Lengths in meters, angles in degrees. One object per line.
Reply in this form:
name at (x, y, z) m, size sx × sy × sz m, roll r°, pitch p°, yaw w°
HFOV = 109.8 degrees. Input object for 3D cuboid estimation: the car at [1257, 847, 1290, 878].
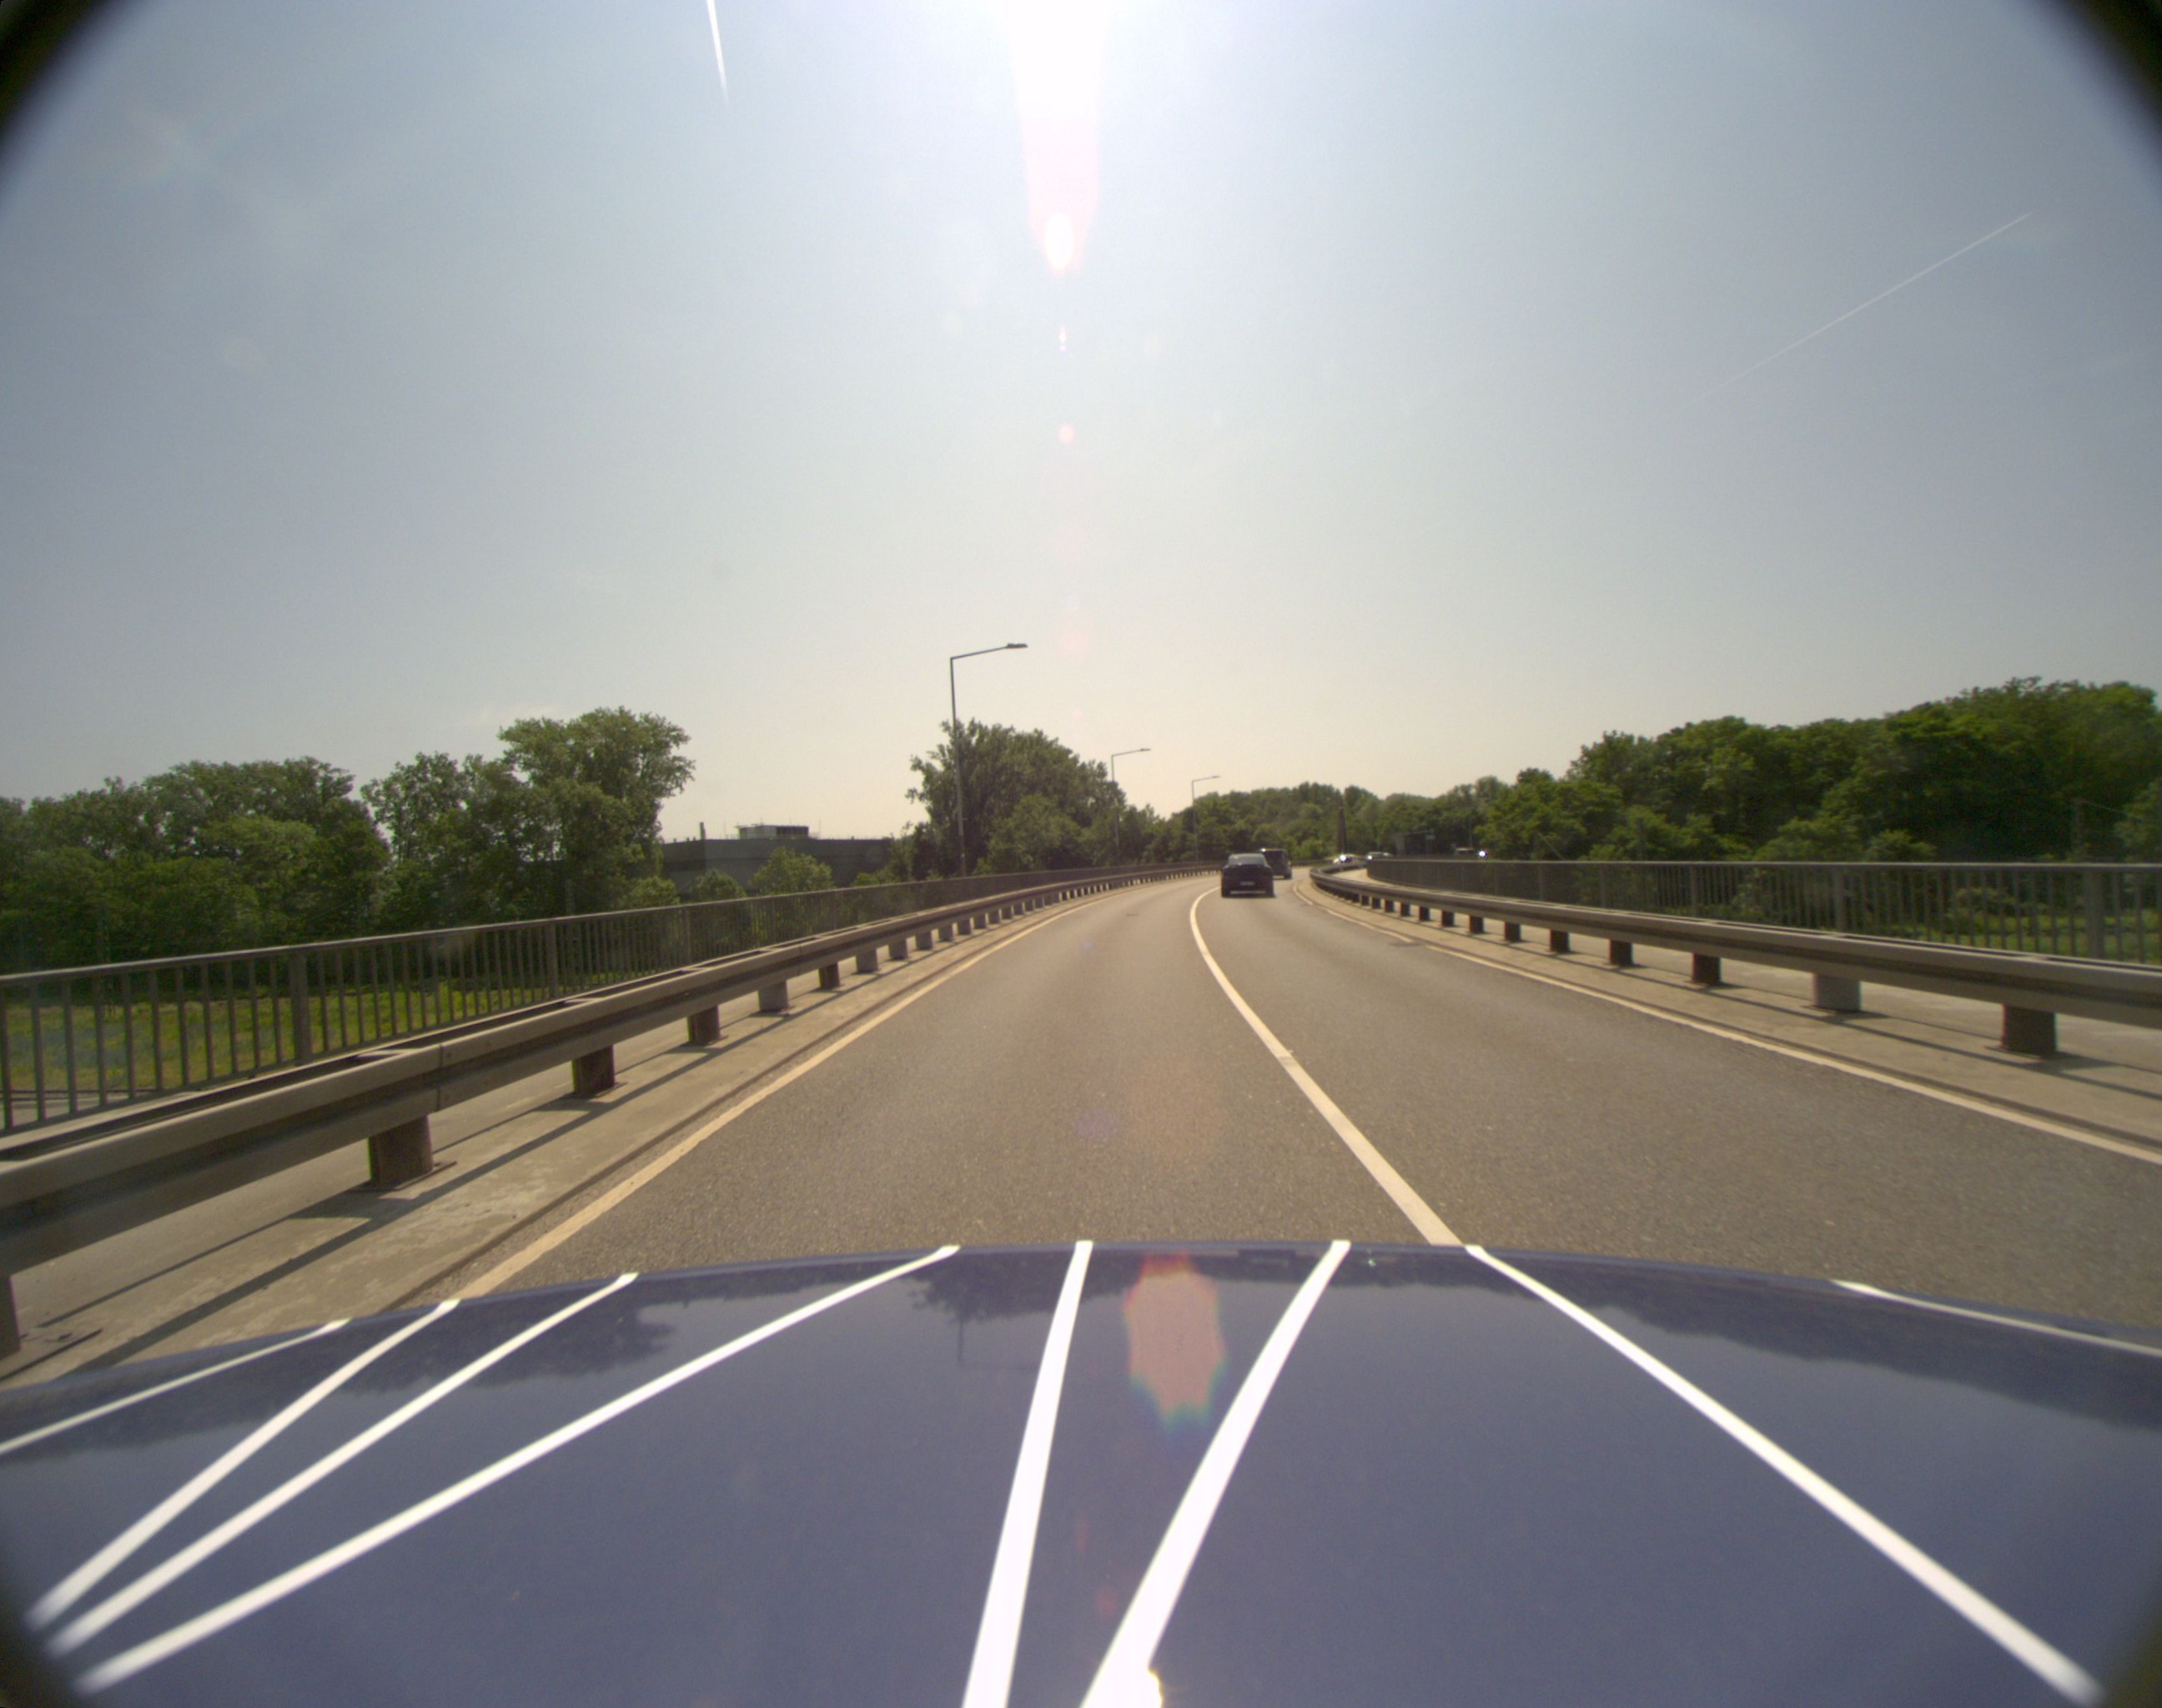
car at (13.061, 0.500, 51.669) m, size 2.010 × 1.947 × 5.276 m, roll -1°, pitch 1°, yaw 13°

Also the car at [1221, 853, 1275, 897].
car at (6.593, 0.789, 30.112) m, size 1.895 × 1.586 × 4.491 m, roll -2°, pitch -1°, yaw 12°

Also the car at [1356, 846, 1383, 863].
car at (31.117, 0.080, 81.938) m, size 1.908 × 1.756 × 4.008 m, roll -2°, pitch -1°, yaw 31°

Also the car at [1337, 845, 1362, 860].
car at (26.225, -0.148, 74.060) m, size 1.665 × 1.455 × 3.493 m, roll -2°, pitch -1°, yaw 29°
